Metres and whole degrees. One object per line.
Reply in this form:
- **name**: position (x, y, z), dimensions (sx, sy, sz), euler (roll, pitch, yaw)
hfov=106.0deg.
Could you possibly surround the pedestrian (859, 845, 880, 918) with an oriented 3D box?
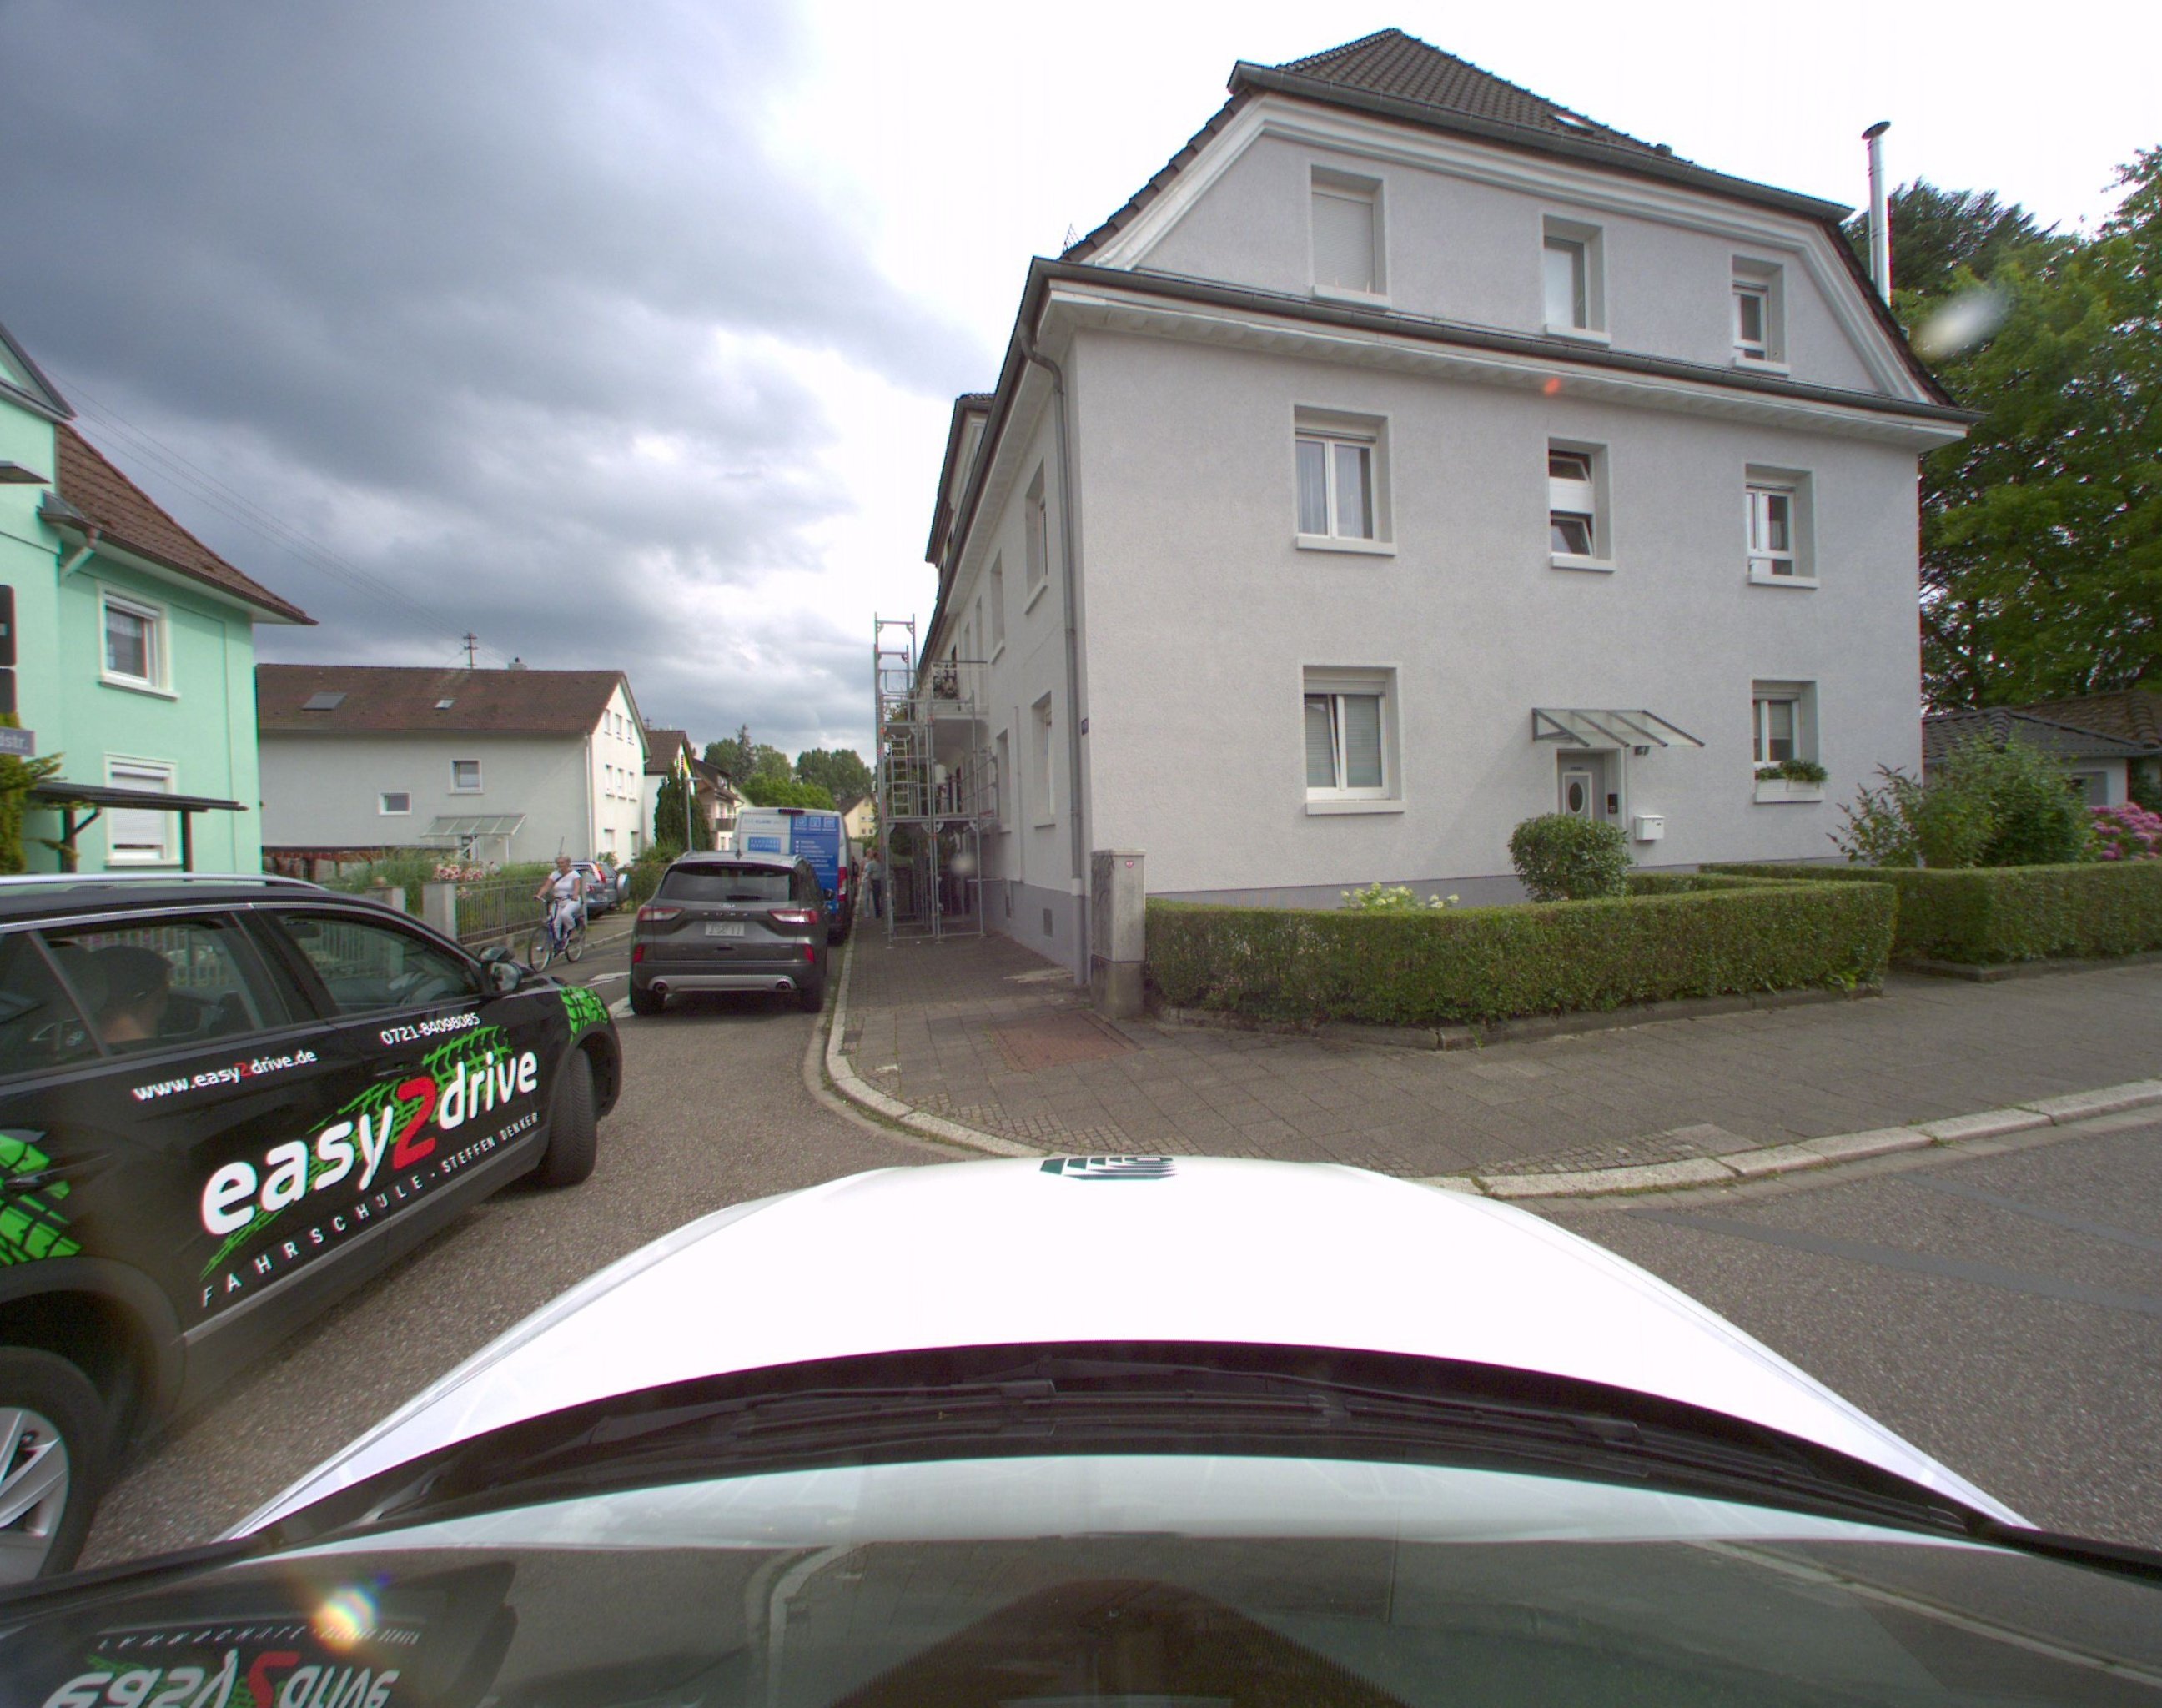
- **pedestrian**: position (-5.254, 0.684, 20.216), dimensions (0.409, 1.762, 0.510), euler (-2, -1, -18)

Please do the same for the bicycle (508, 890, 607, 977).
- **bicycle**: position (-8.160, 1.195, 12.794), dimensions (0.706, 1.152, 1.863), euler (-3, 1, -15)

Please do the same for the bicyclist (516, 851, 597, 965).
- **bicyclist**: position (-8.170, 0.814, 12.727), dimensions (0.697, 1.666, 0.970), euler (-4, 0, -15)

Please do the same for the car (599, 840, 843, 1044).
- **car**: position (-3.894, 0.772, 9.541), dimensions (1.999, 1.726, 4.316), euler (-2, 1, -17)

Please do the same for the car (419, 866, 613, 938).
- **car**: position (-13.815, 1.127, 20.148), dimensions (3.582, 1.500, 1.577), euler (-3, 0, -19)

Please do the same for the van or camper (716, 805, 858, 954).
- **van or camper**: position (-5.711, 0.412, 16.470), dimensions (2.196, 2.459, 5.028), euler (-2, 1, -15)

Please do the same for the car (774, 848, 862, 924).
- **car**: position (-7.106, 0.782, 22.179), dimensions (1.999, 1.772, 4.316), euler (-2, 1, -17)

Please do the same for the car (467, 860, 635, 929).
- **car**: position (-14.683, 1.079, 22.767), dimensions (3.582, 1.667, 1.577), euler (-3, 0, -19)

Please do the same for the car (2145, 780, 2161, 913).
- **car**: position (17.117, -0.184, 10.934), dimensions (3.992, 1.837, 1.991), euler (-2, 1, -14)

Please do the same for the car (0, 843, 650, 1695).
- **car**: position (-3.053, 0.782, 2.538), dimensions (1.816, 1.520, 4.029), euler (-2, -1, -10)

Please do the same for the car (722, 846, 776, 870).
- **car**: position (-27.335, 0.292, 67.109), dimensions (4.001, 1.772, 1.857), euler (-2, -1, -21)

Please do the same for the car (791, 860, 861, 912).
- **car**: position (-8.431, 0.995, 27.034), dimensions (1.999, 1.455, 4.316), euler (-2, 1, -17)

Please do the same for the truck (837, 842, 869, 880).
- **truck**: position (-17.223, 0.520, 61.499), dimensions (2.135, 2.657, 4.558), euler (-2, 1, -17)

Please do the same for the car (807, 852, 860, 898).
- **car**: position (-10.591, 0.848, 34.839), dimensions (1.999, 1.749, 4.316), euler (-2, 1, -17)

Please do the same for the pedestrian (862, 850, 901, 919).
- **pedestrian**: position (-4.843, 0.729, 19.768), dimensions (0.595, 1.629, 0.629), euler (-4, -1, 43)
